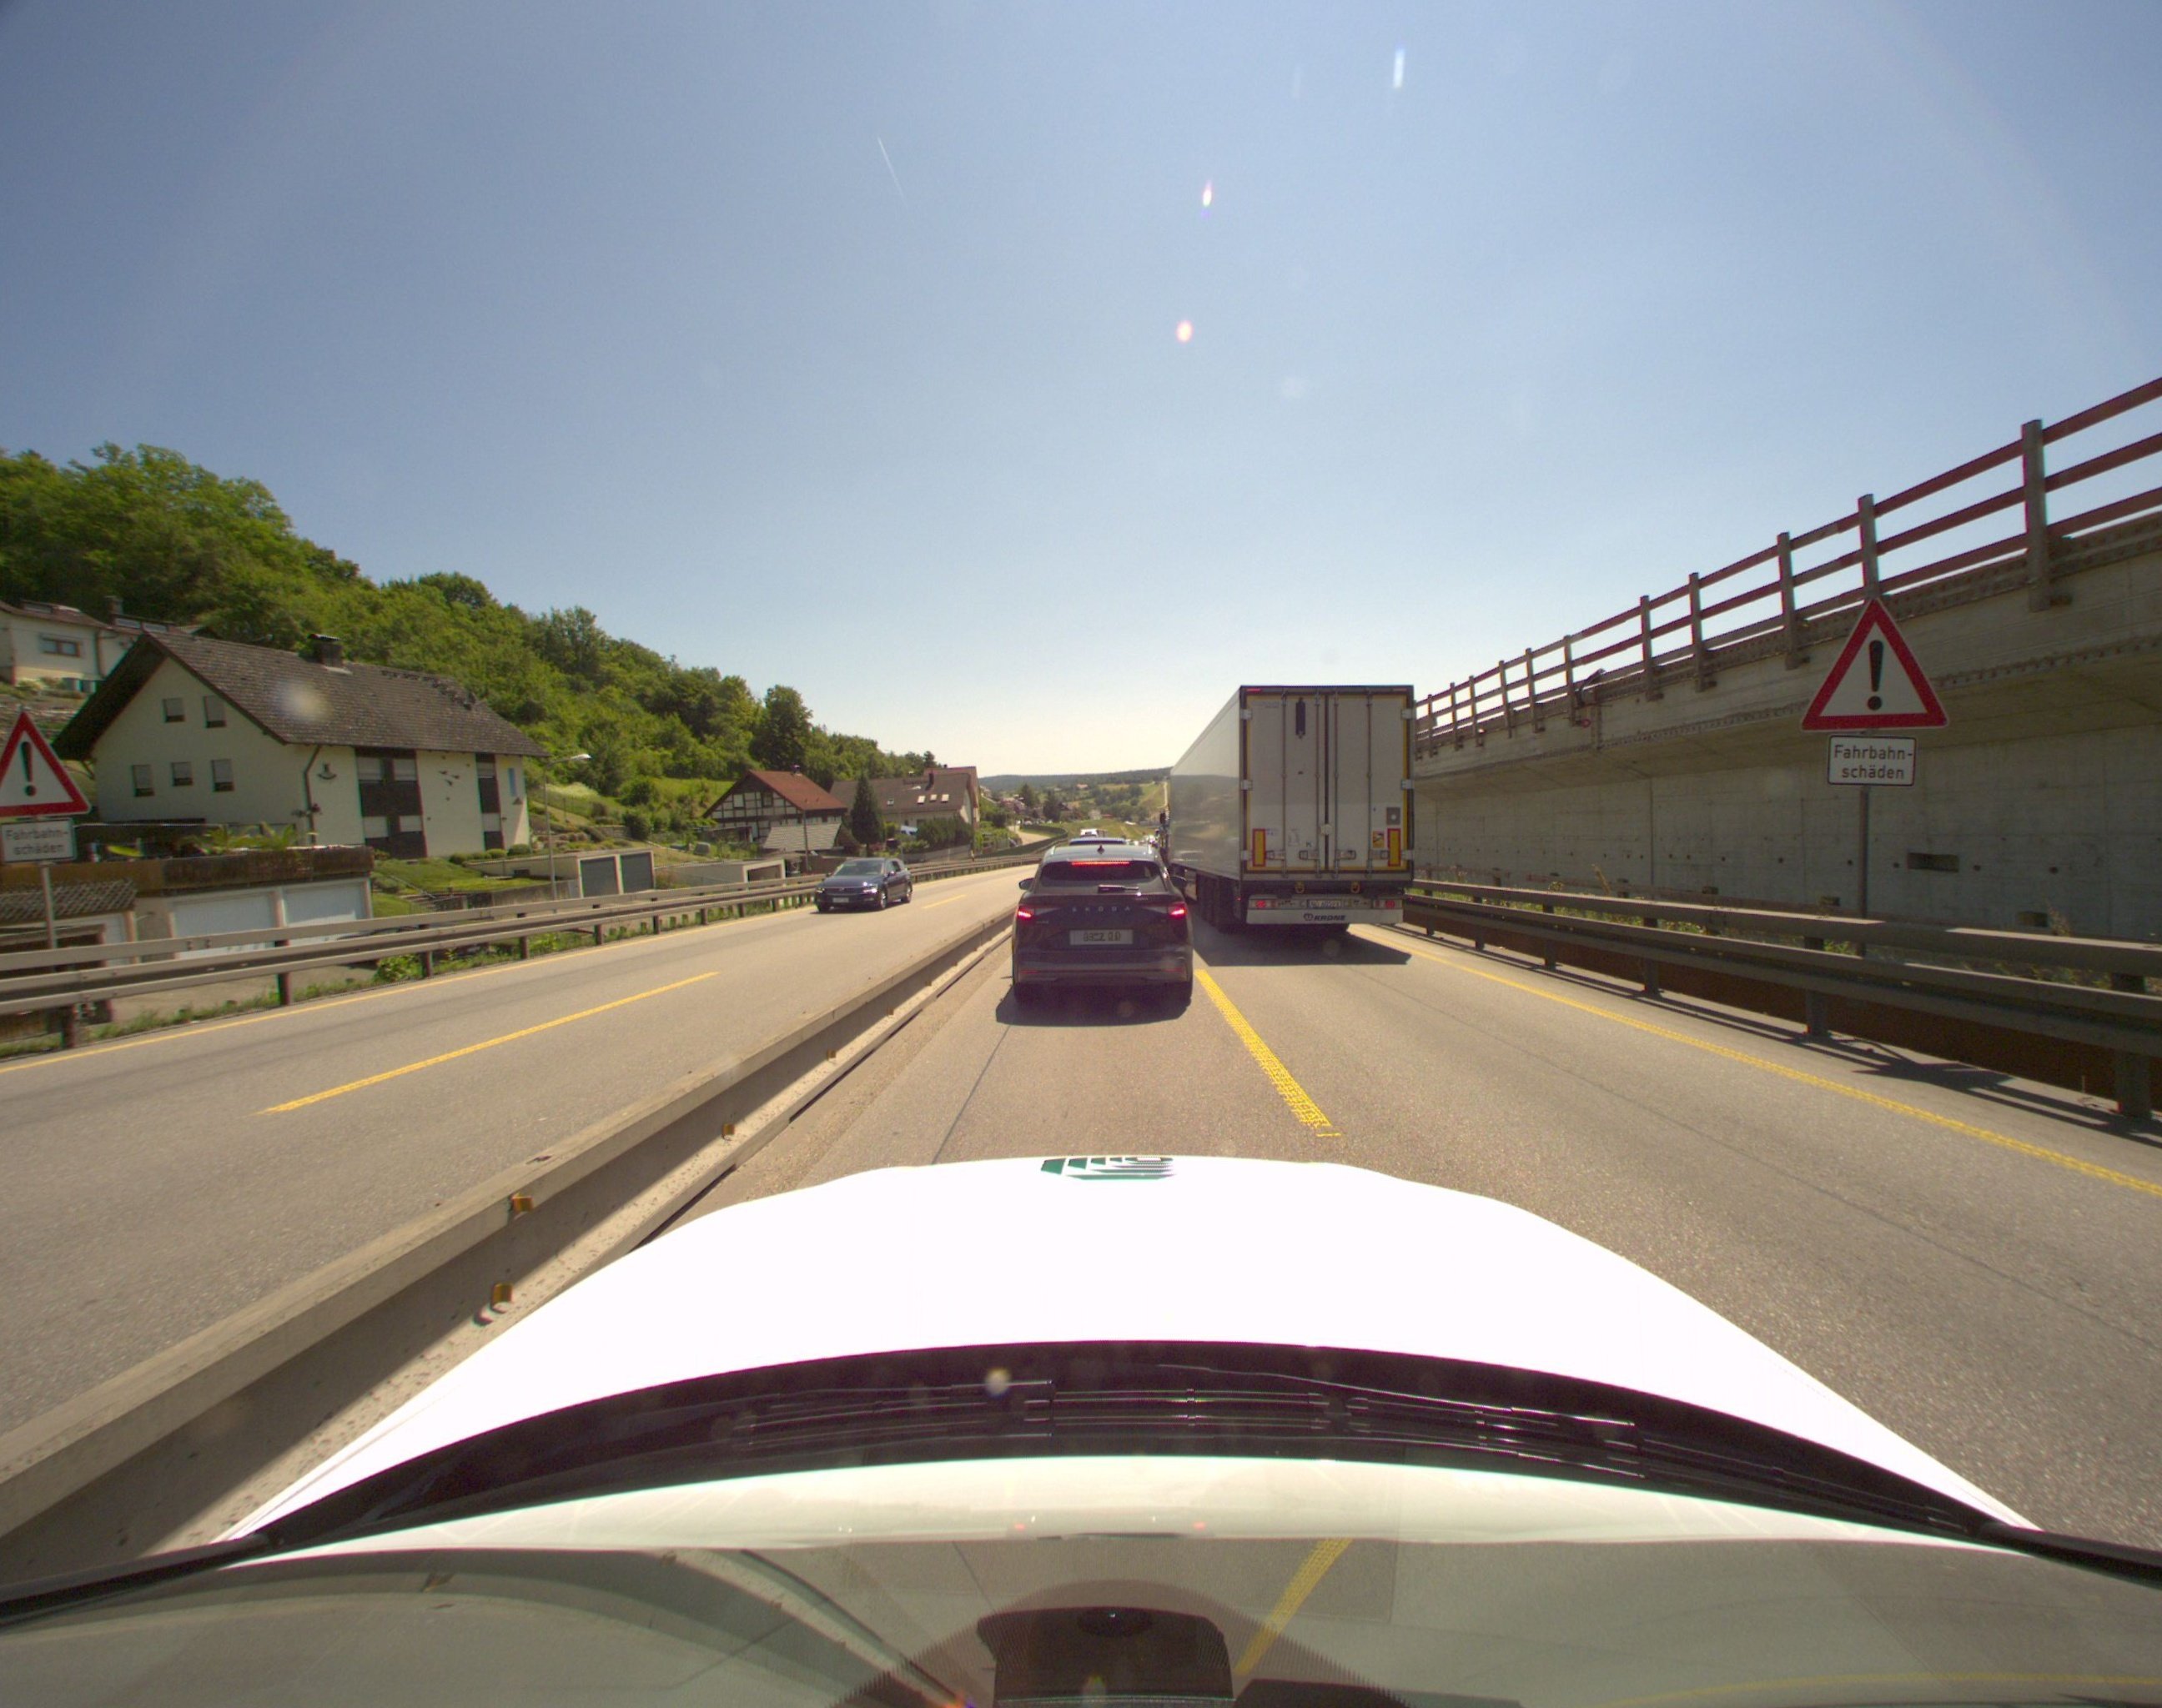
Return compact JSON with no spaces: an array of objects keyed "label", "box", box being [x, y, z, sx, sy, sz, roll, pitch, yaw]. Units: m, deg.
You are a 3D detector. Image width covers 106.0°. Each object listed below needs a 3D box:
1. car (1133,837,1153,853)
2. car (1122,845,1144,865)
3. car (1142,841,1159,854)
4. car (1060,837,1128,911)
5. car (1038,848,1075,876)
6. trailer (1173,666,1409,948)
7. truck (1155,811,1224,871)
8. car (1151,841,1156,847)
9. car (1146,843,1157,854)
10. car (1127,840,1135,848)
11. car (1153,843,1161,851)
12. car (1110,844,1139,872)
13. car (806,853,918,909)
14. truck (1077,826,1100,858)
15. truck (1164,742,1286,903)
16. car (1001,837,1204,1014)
[{"label":"car","box":[6.551,-0.896,86.384,1.985,1.585,3.839,0,-1,3]},{"label":"car","box":[4.294,0.063,67.541,1.700,1.622,4.002,0,1,2]},{"label":"car","box":[9.193,-0.880,107.939,1.985,1.585,3.839,0,-1,3]},{"label":"car","box":[0.290,0.478,22.743,1.702,1.881,3.998,0,1,-2]},{"label":"car","box":[-1.305,0.424,45.183,1.711,1.408,4.003,-2,0,2]},{"label":"trailer","box":[3.733,-0.637,17.713,2.522,4.127,11.553,0,-1,2]},{"label":"truck","box":[6.399,-0.652,50.086,3.182,3.191,12.817,-1,-1,3]},{"label":"car","box":[22.563,-3.166,253.617,1.692,1.728,3.843,0,-1,6]},{"label":"car","box":[11.643,-0.956,134.055,1.692,1.728,3.843,0,-1,6]},{"label":"car","box":[11.349,-2.253,184.325,1.694,1.728,3.838,0,-1,2]},{"label":"car","box":[15.949,-1.453,171.133,1.692,1.728,3.843,0,-1,6]},{"label":"car","box":[2.676,0.220,50.784,1.700,1.622,4.002,0,1,2]},{"label":"car","box":[-6.276,0.748,23.936,1.834,1.418,4.688,-2,-1,2]},{"label":"truck","box":[1.053,-1.656,110.724,2.739,4.283,4.964,0,0,5]},{"label":"truck","box":[4.012,-0.752,24.523,2.503,4.025,8.241,0,-1,2]},{"label":"car","box":[0.143,0.662,9.363,1.838,1.586,3.904,0,-1,-2]}]
